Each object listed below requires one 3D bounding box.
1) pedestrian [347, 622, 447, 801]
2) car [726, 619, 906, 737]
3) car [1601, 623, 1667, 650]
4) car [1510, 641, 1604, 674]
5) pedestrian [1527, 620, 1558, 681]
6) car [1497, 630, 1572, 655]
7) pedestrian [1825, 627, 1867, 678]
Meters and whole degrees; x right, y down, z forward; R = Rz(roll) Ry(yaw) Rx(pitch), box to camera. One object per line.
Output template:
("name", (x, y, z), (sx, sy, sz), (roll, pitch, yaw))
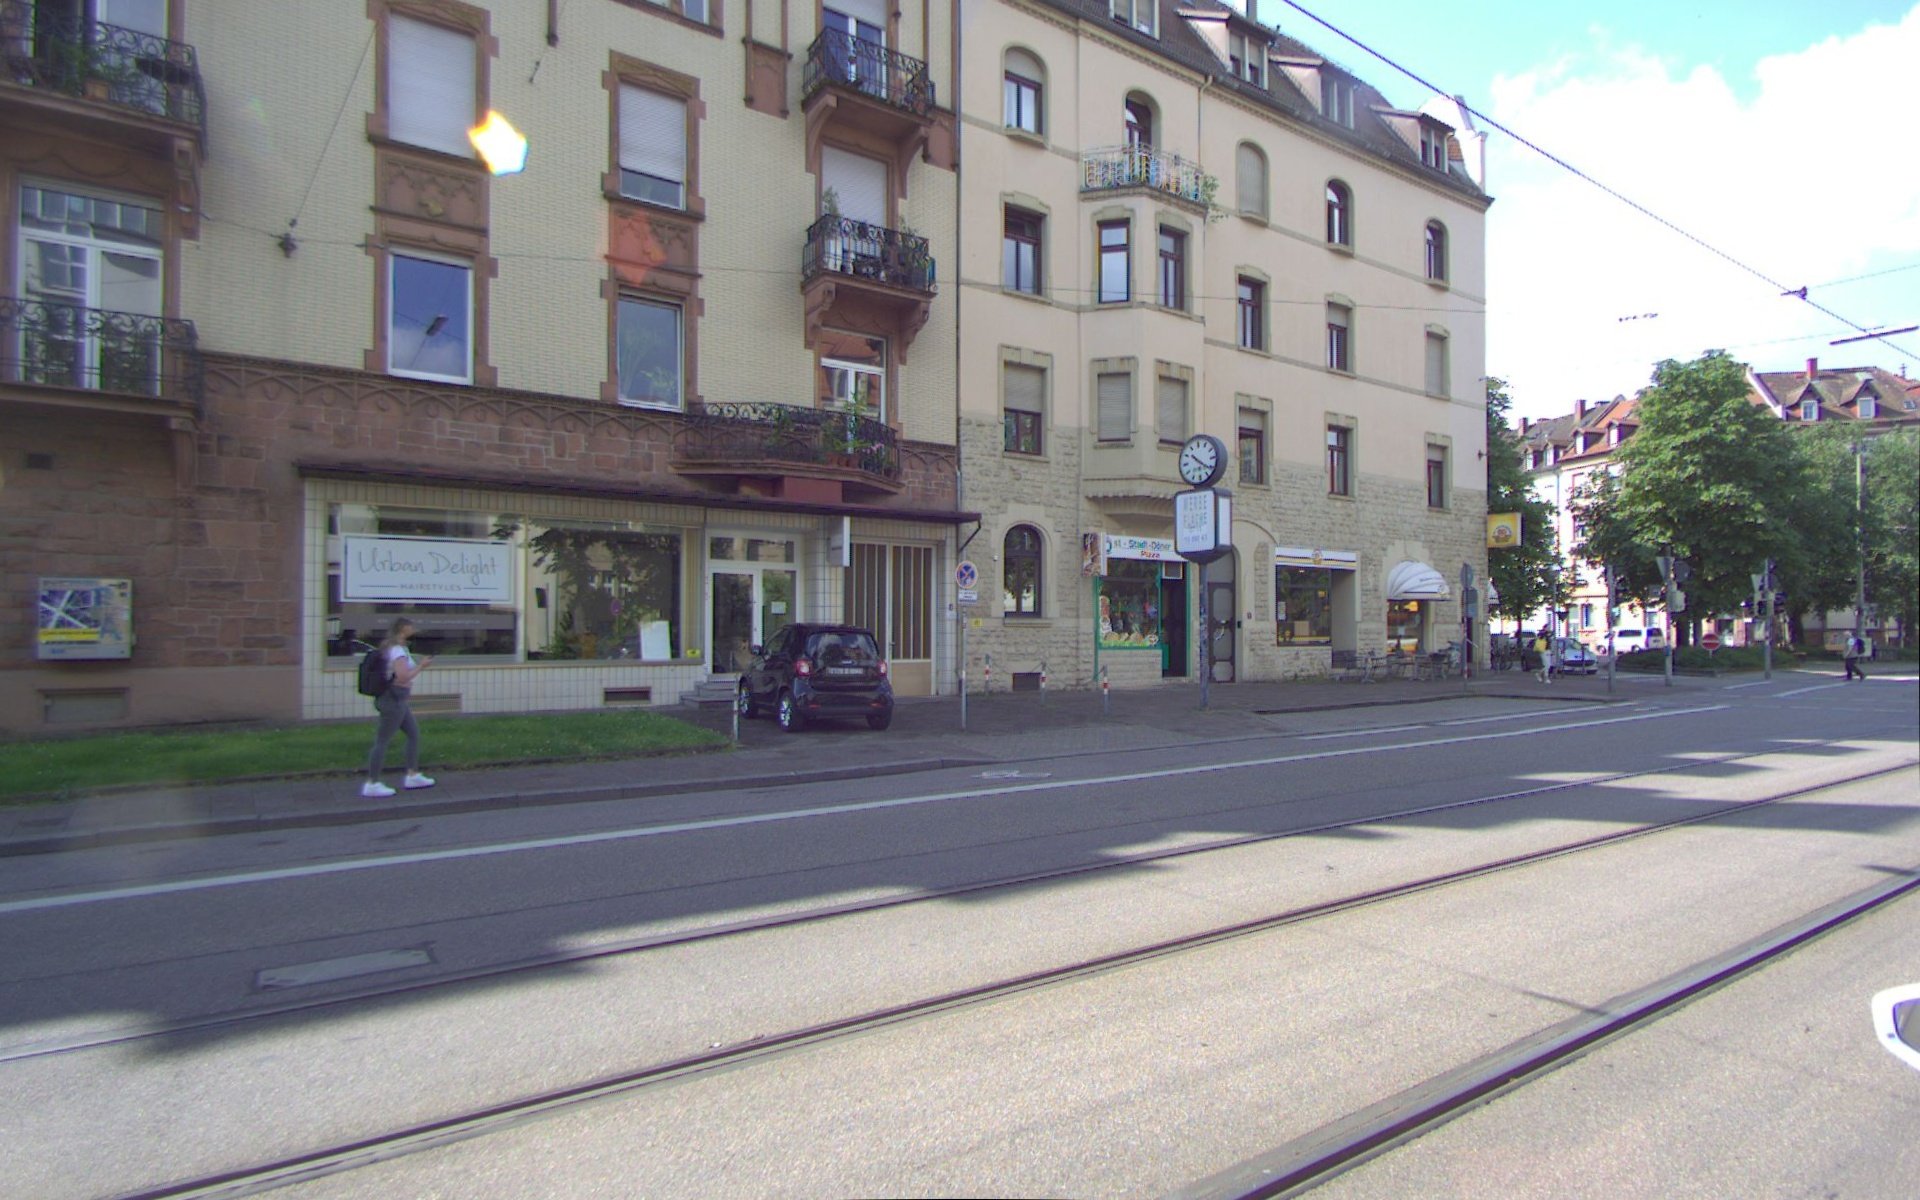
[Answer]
("pedestrian", (-5.232, 0.992, 9.324), (0.757, 1.561, 0.752), (1, -2, -32))
("car", (-2.339, 1.121, 15.679), (1.716, 1.505, 3.162), (1, 1, -30))
("car", (49.988, 2.723, 74.567), (1.962, 1.929, 3.997), (0, -2, -5))
("car", (23.897, 2.287, 40.370), (1.645, 1.198, 4.002), (0, -2, 4))
("pedestrian", (17.092, 1.468, 29.481), (0.674, 1.777, 0.798), (-1, -2, 38))
("car", (39.029, 2.853, 68.291), (1.976, 1.617, 3.970), (1, -2, -29))
("pedestrian", (30.226, 1.774, 34.275), (0.705, 1.728, 0.823), (0, -1, -5))
